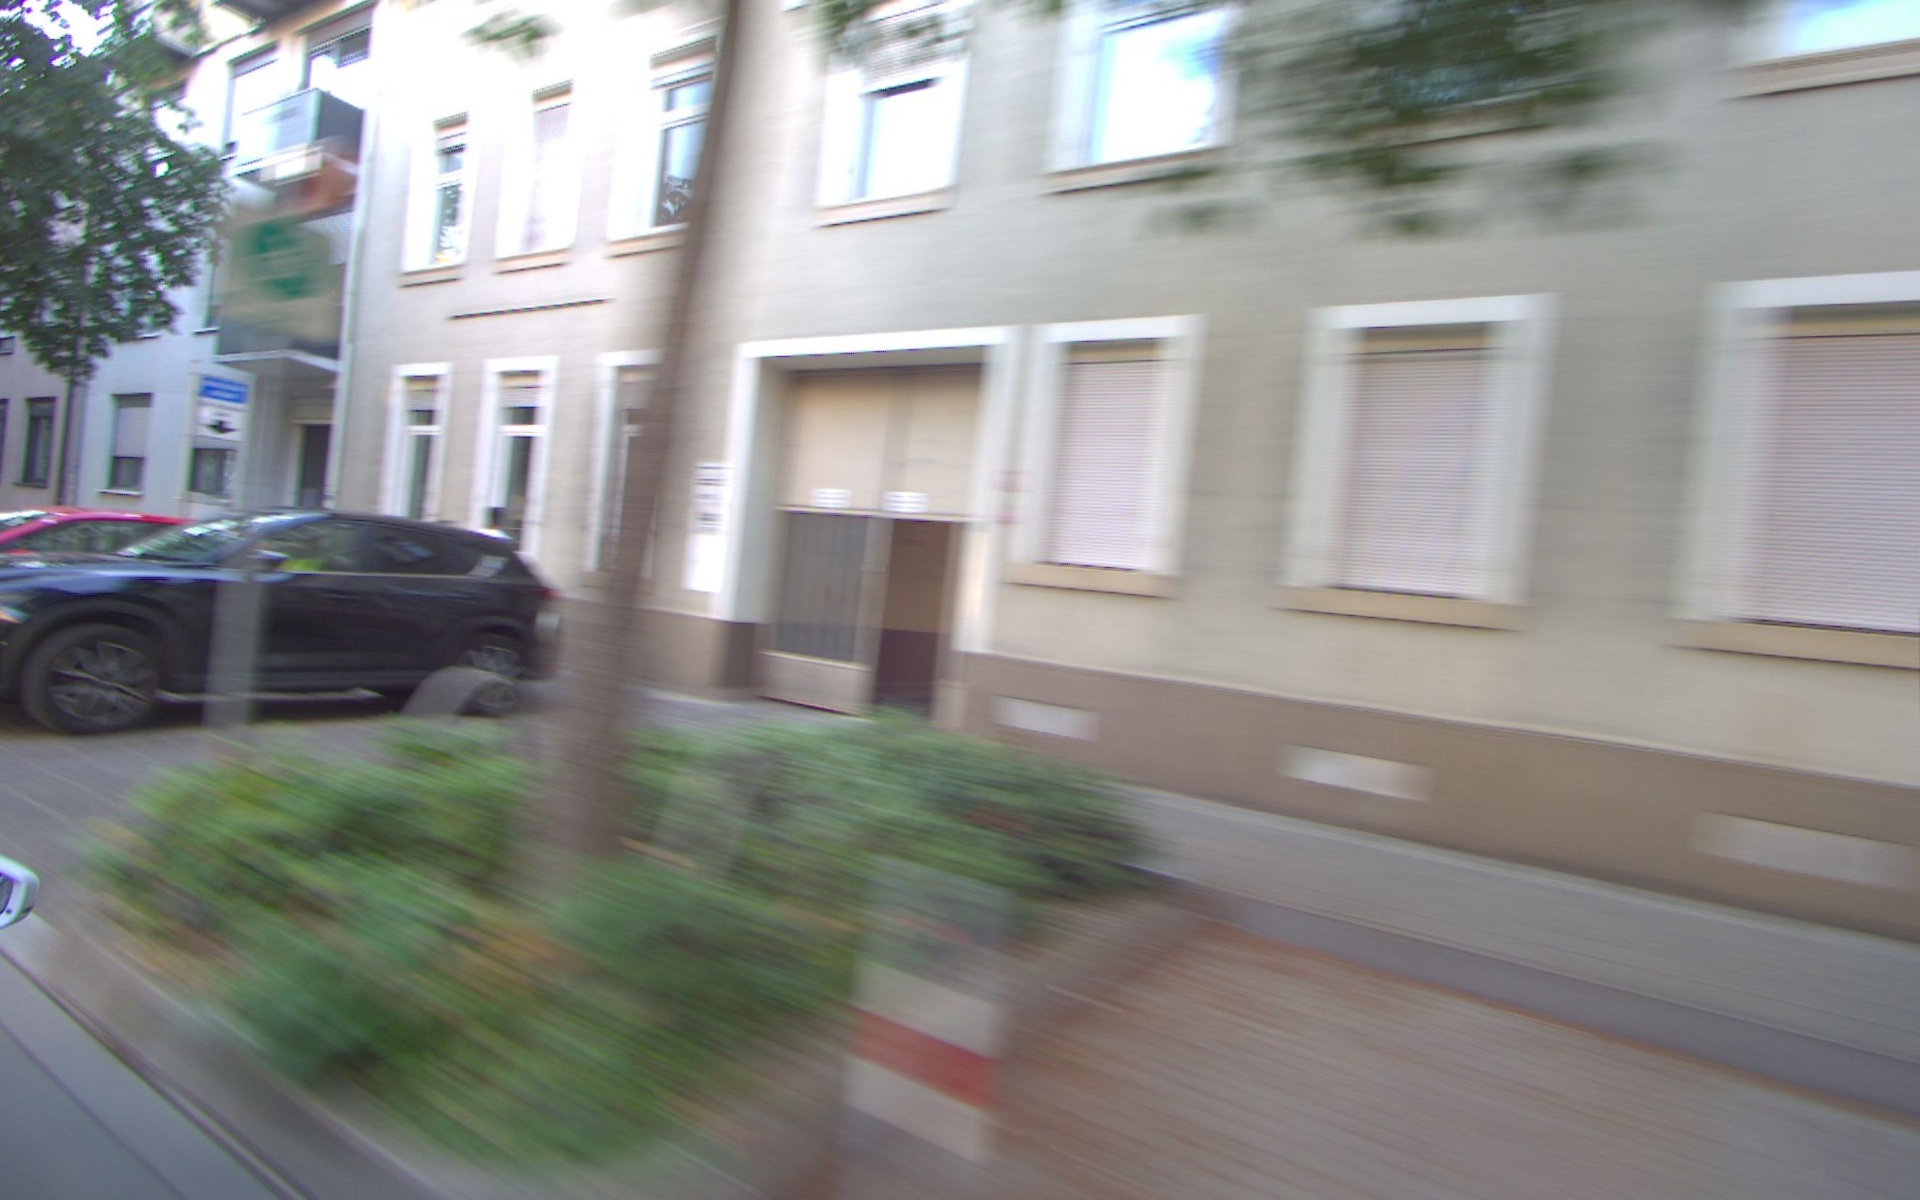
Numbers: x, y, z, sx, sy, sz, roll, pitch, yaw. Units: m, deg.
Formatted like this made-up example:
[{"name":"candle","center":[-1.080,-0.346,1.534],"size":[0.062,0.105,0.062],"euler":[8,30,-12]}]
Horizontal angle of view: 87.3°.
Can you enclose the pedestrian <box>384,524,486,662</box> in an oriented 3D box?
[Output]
[{"name":"pedestrian","center":[-6.317,-0.079,12.118],"size":[0.818,1.556,0.655],"euler":[7,1,33]}]

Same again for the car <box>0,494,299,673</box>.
[{"name":"car","center":[-8.477,-0.191,9.234],"size":[1.867,1.471,3.487],"euler":[7,1,30]}]

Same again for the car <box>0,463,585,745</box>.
[{"name":"car","center":[-5.517,0.066,7.957],"size":[1.869,1.676,4.429],"euler":[7,0,33]}]

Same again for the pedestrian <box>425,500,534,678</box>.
[{"name":"pedestrian","center":[-5.077,-0.108,10.664],"size":[0.661,1.759,0.691],"euler":[6,1,1]}]

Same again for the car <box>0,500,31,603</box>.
[{"name":"car","center":[-15.456,-0.873,13.831],"size":[1.867,1.471,3.487],"euler":[7,1,30]}]
